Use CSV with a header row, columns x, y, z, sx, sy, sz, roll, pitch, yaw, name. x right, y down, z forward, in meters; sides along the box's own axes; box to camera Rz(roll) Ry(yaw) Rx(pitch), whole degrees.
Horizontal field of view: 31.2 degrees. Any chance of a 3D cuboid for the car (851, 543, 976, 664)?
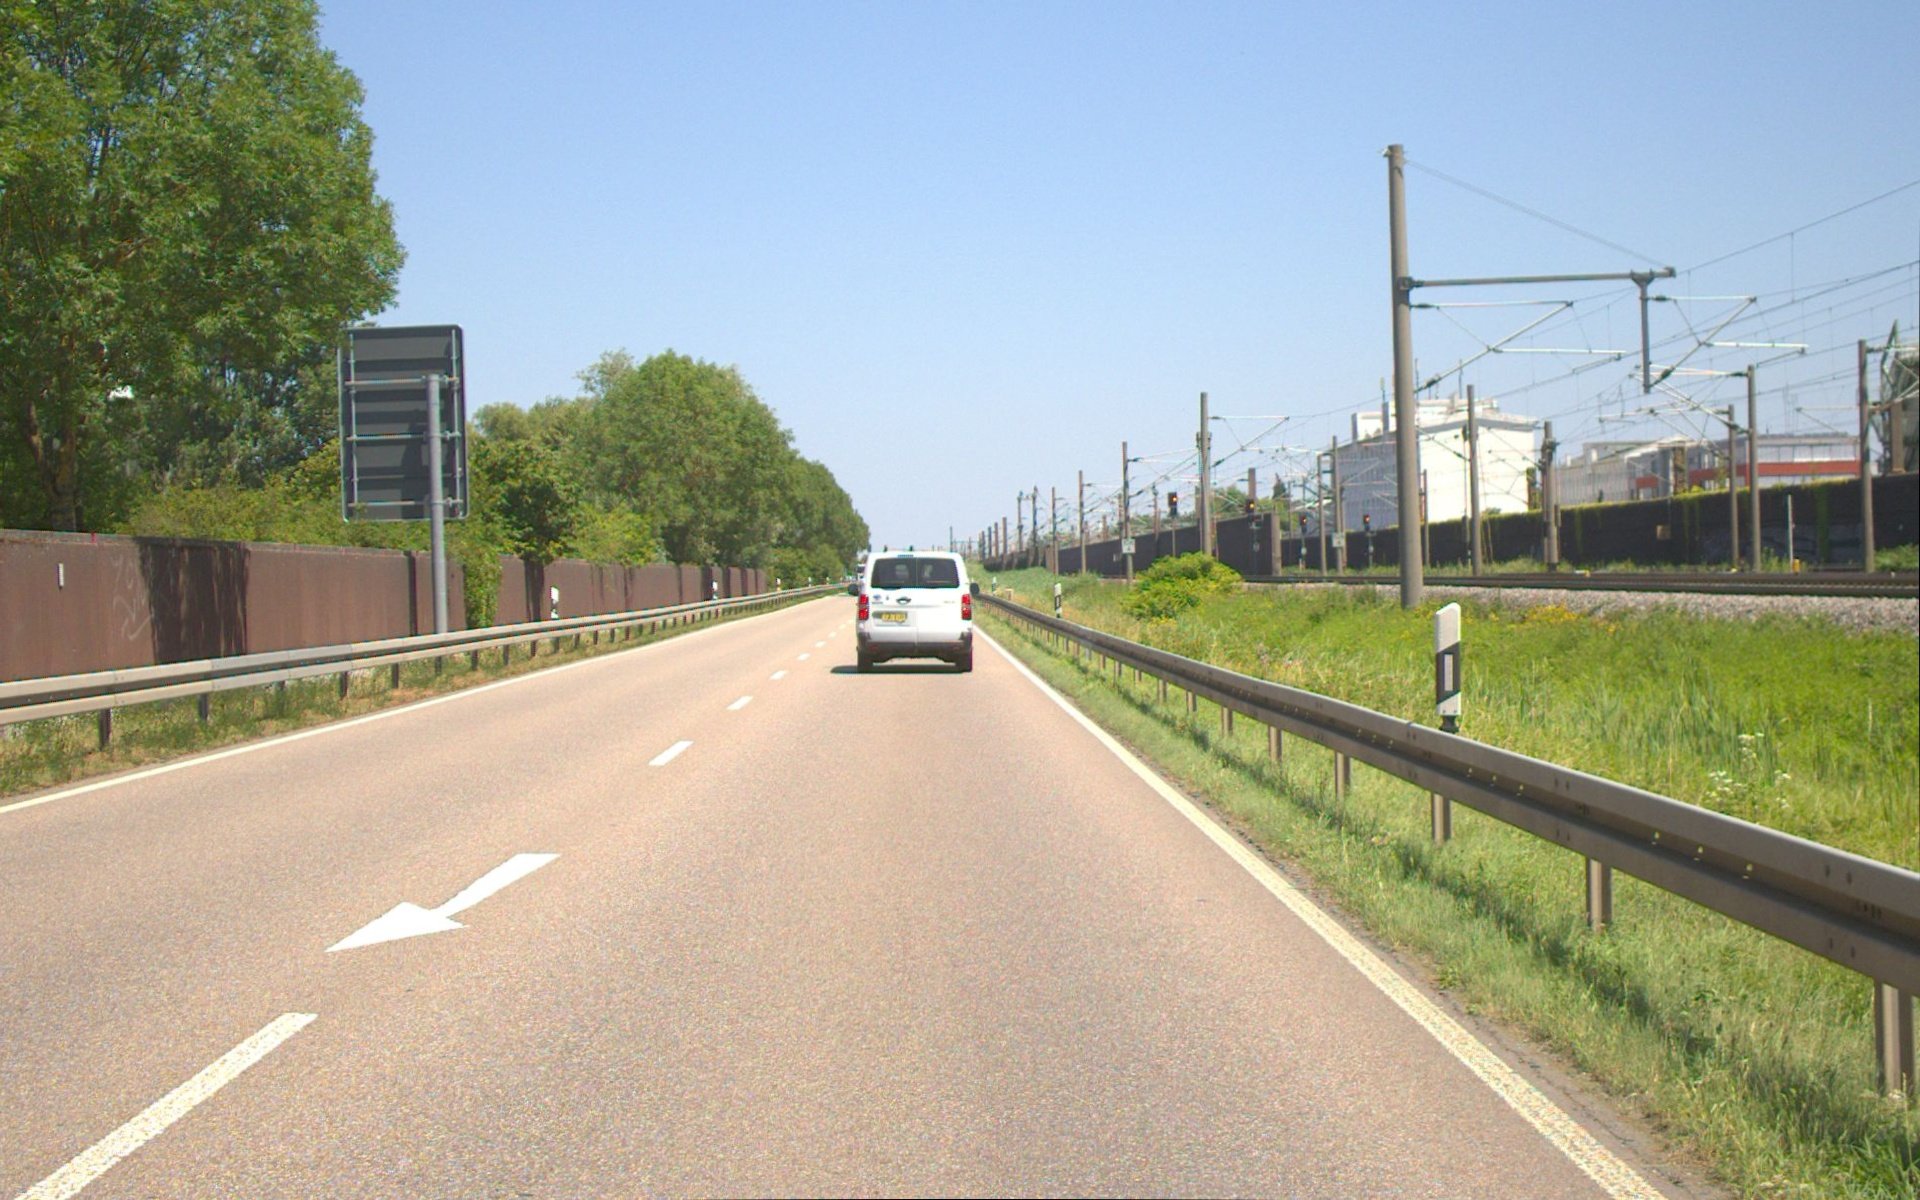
x,y,z,sx,sy,sz,roll,pitch,yaw,name
-0.759,0.045,56.059,1.945,1.875,4.881,0,0,-1,car
